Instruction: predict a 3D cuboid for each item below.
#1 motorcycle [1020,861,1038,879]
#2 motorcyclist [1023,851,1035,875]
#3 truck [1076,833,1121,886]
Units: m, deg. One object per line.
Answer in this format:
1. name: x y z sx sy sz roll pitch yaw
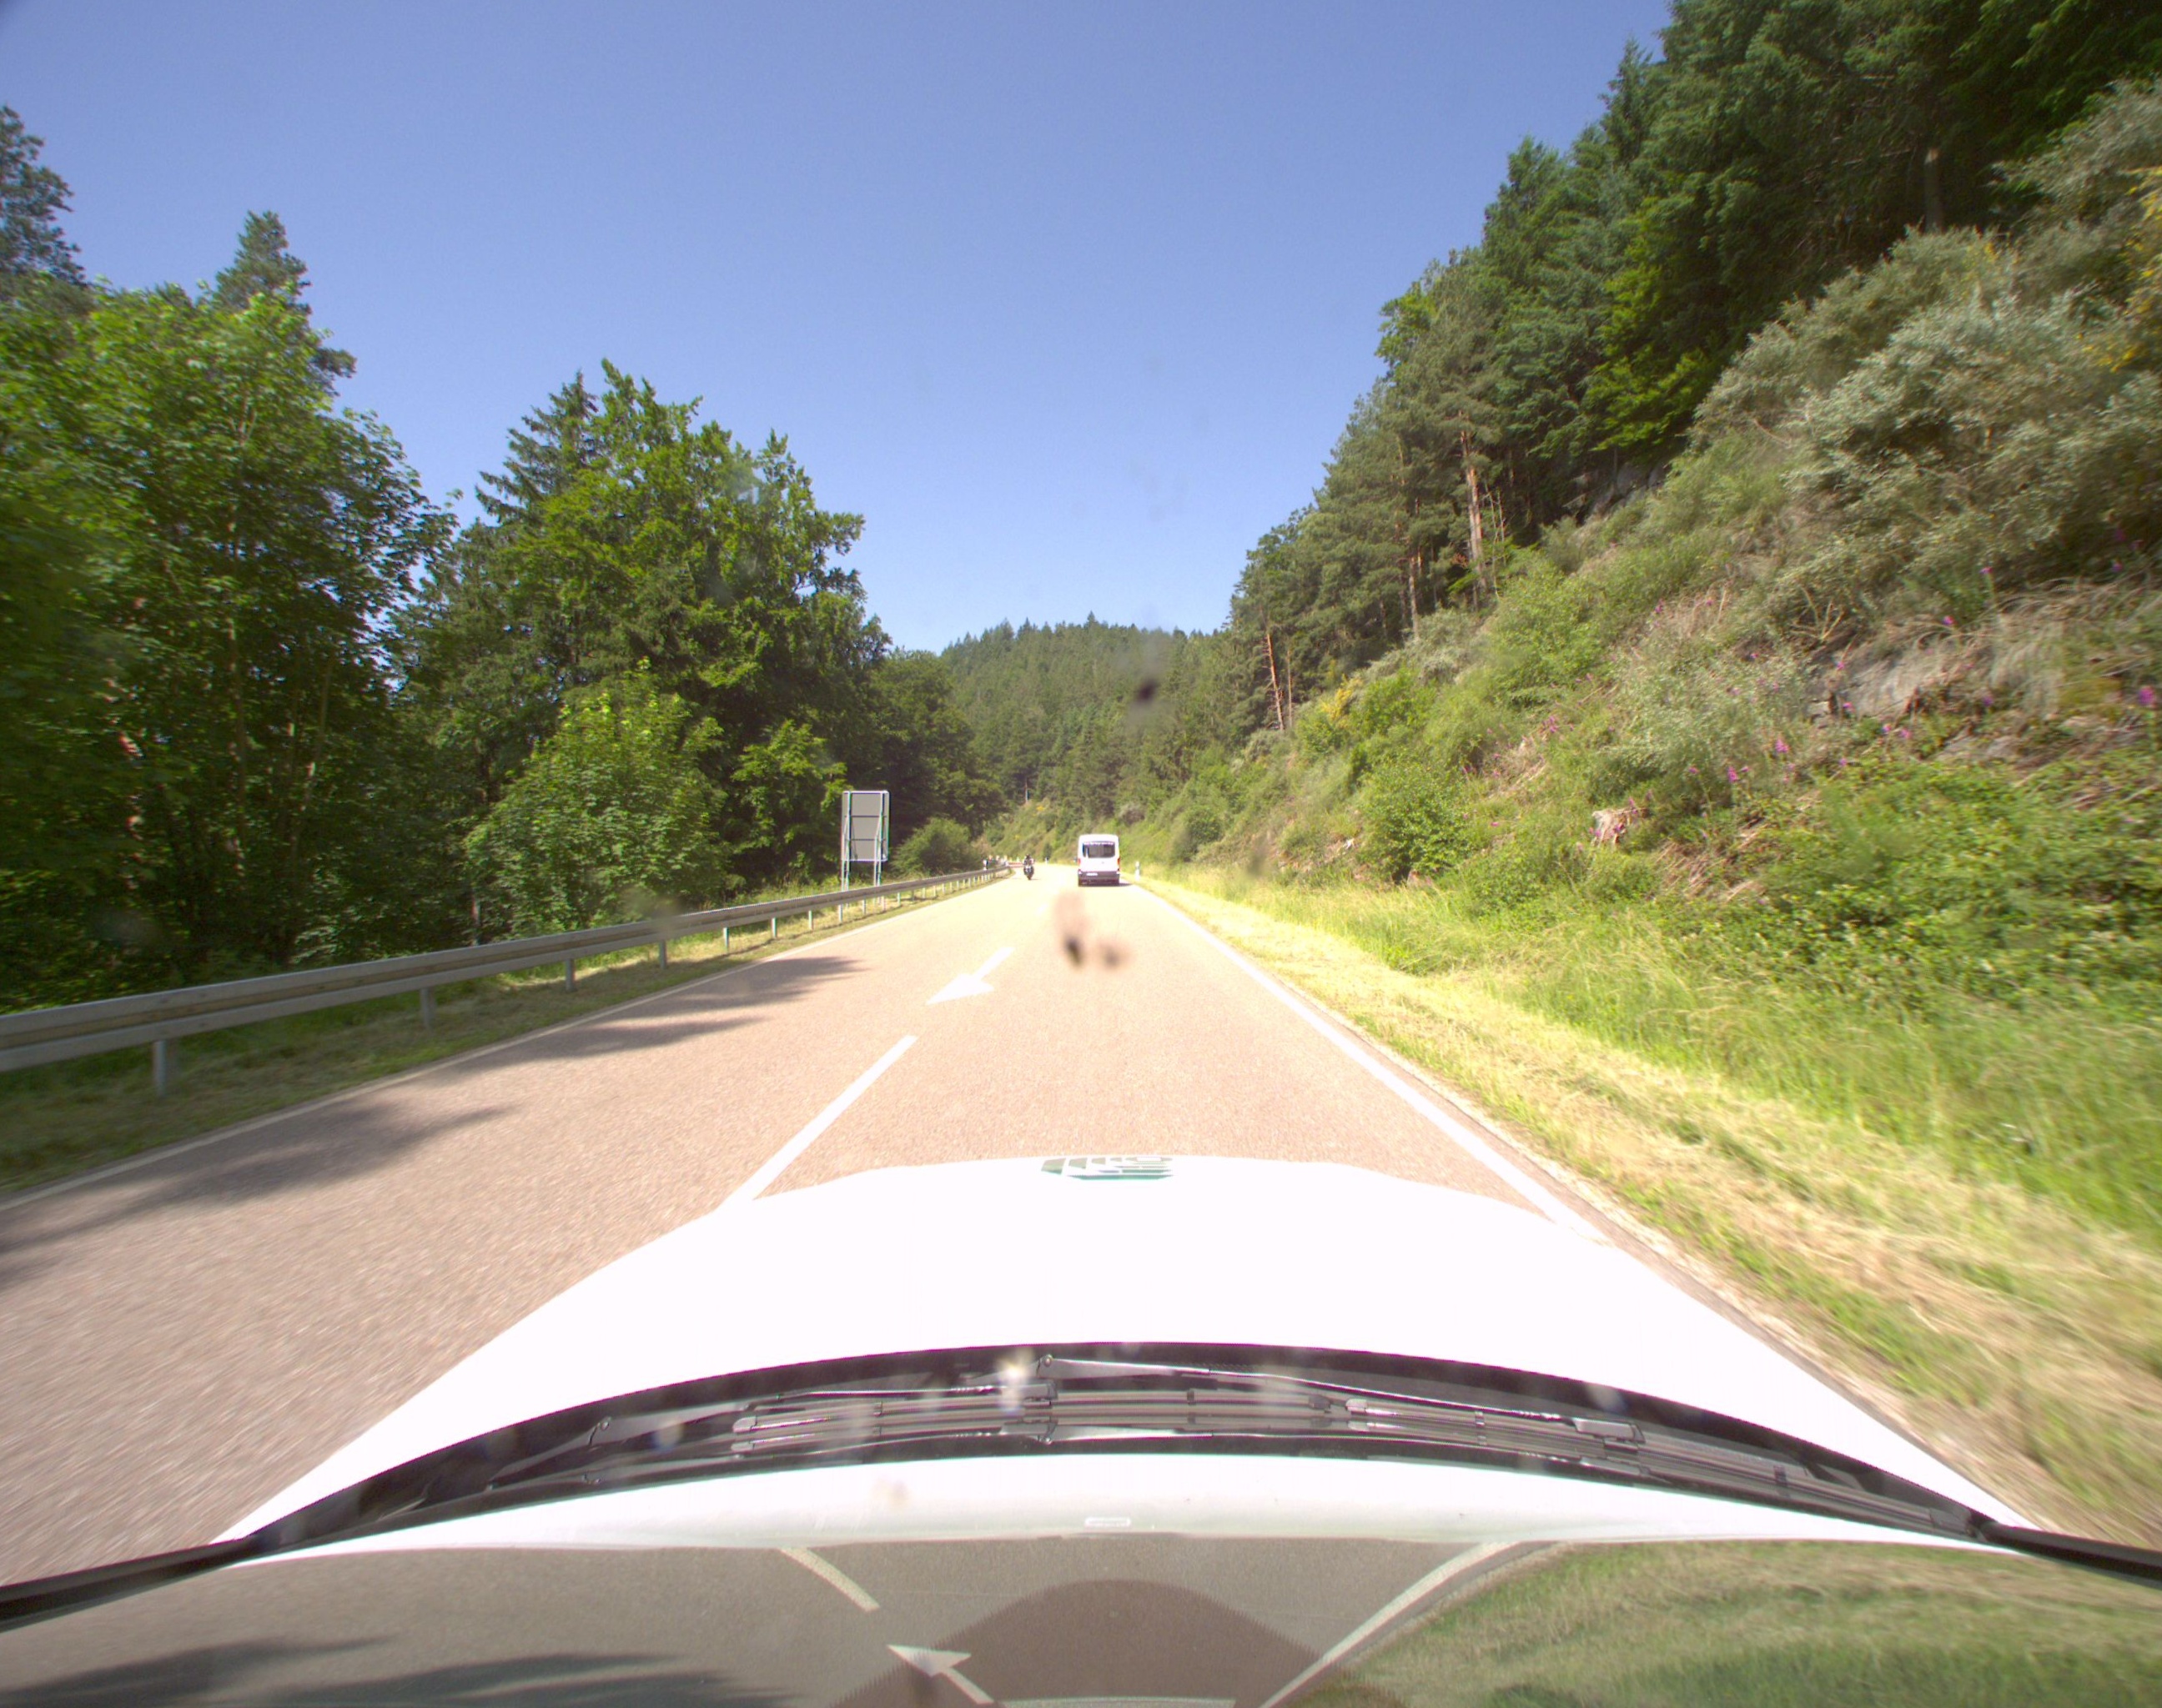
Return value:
1. motorcycle: -3.341 1.023 52.283 0.981 1.071 1.963 -1 0 0
2. motorcyclist: -3.344 0.590 52.331 0.656 1.513 0.934 -1 0 0
3. truck: 0.803 0.273 40.565 2.077 2.459 4.873 0 0 -1
